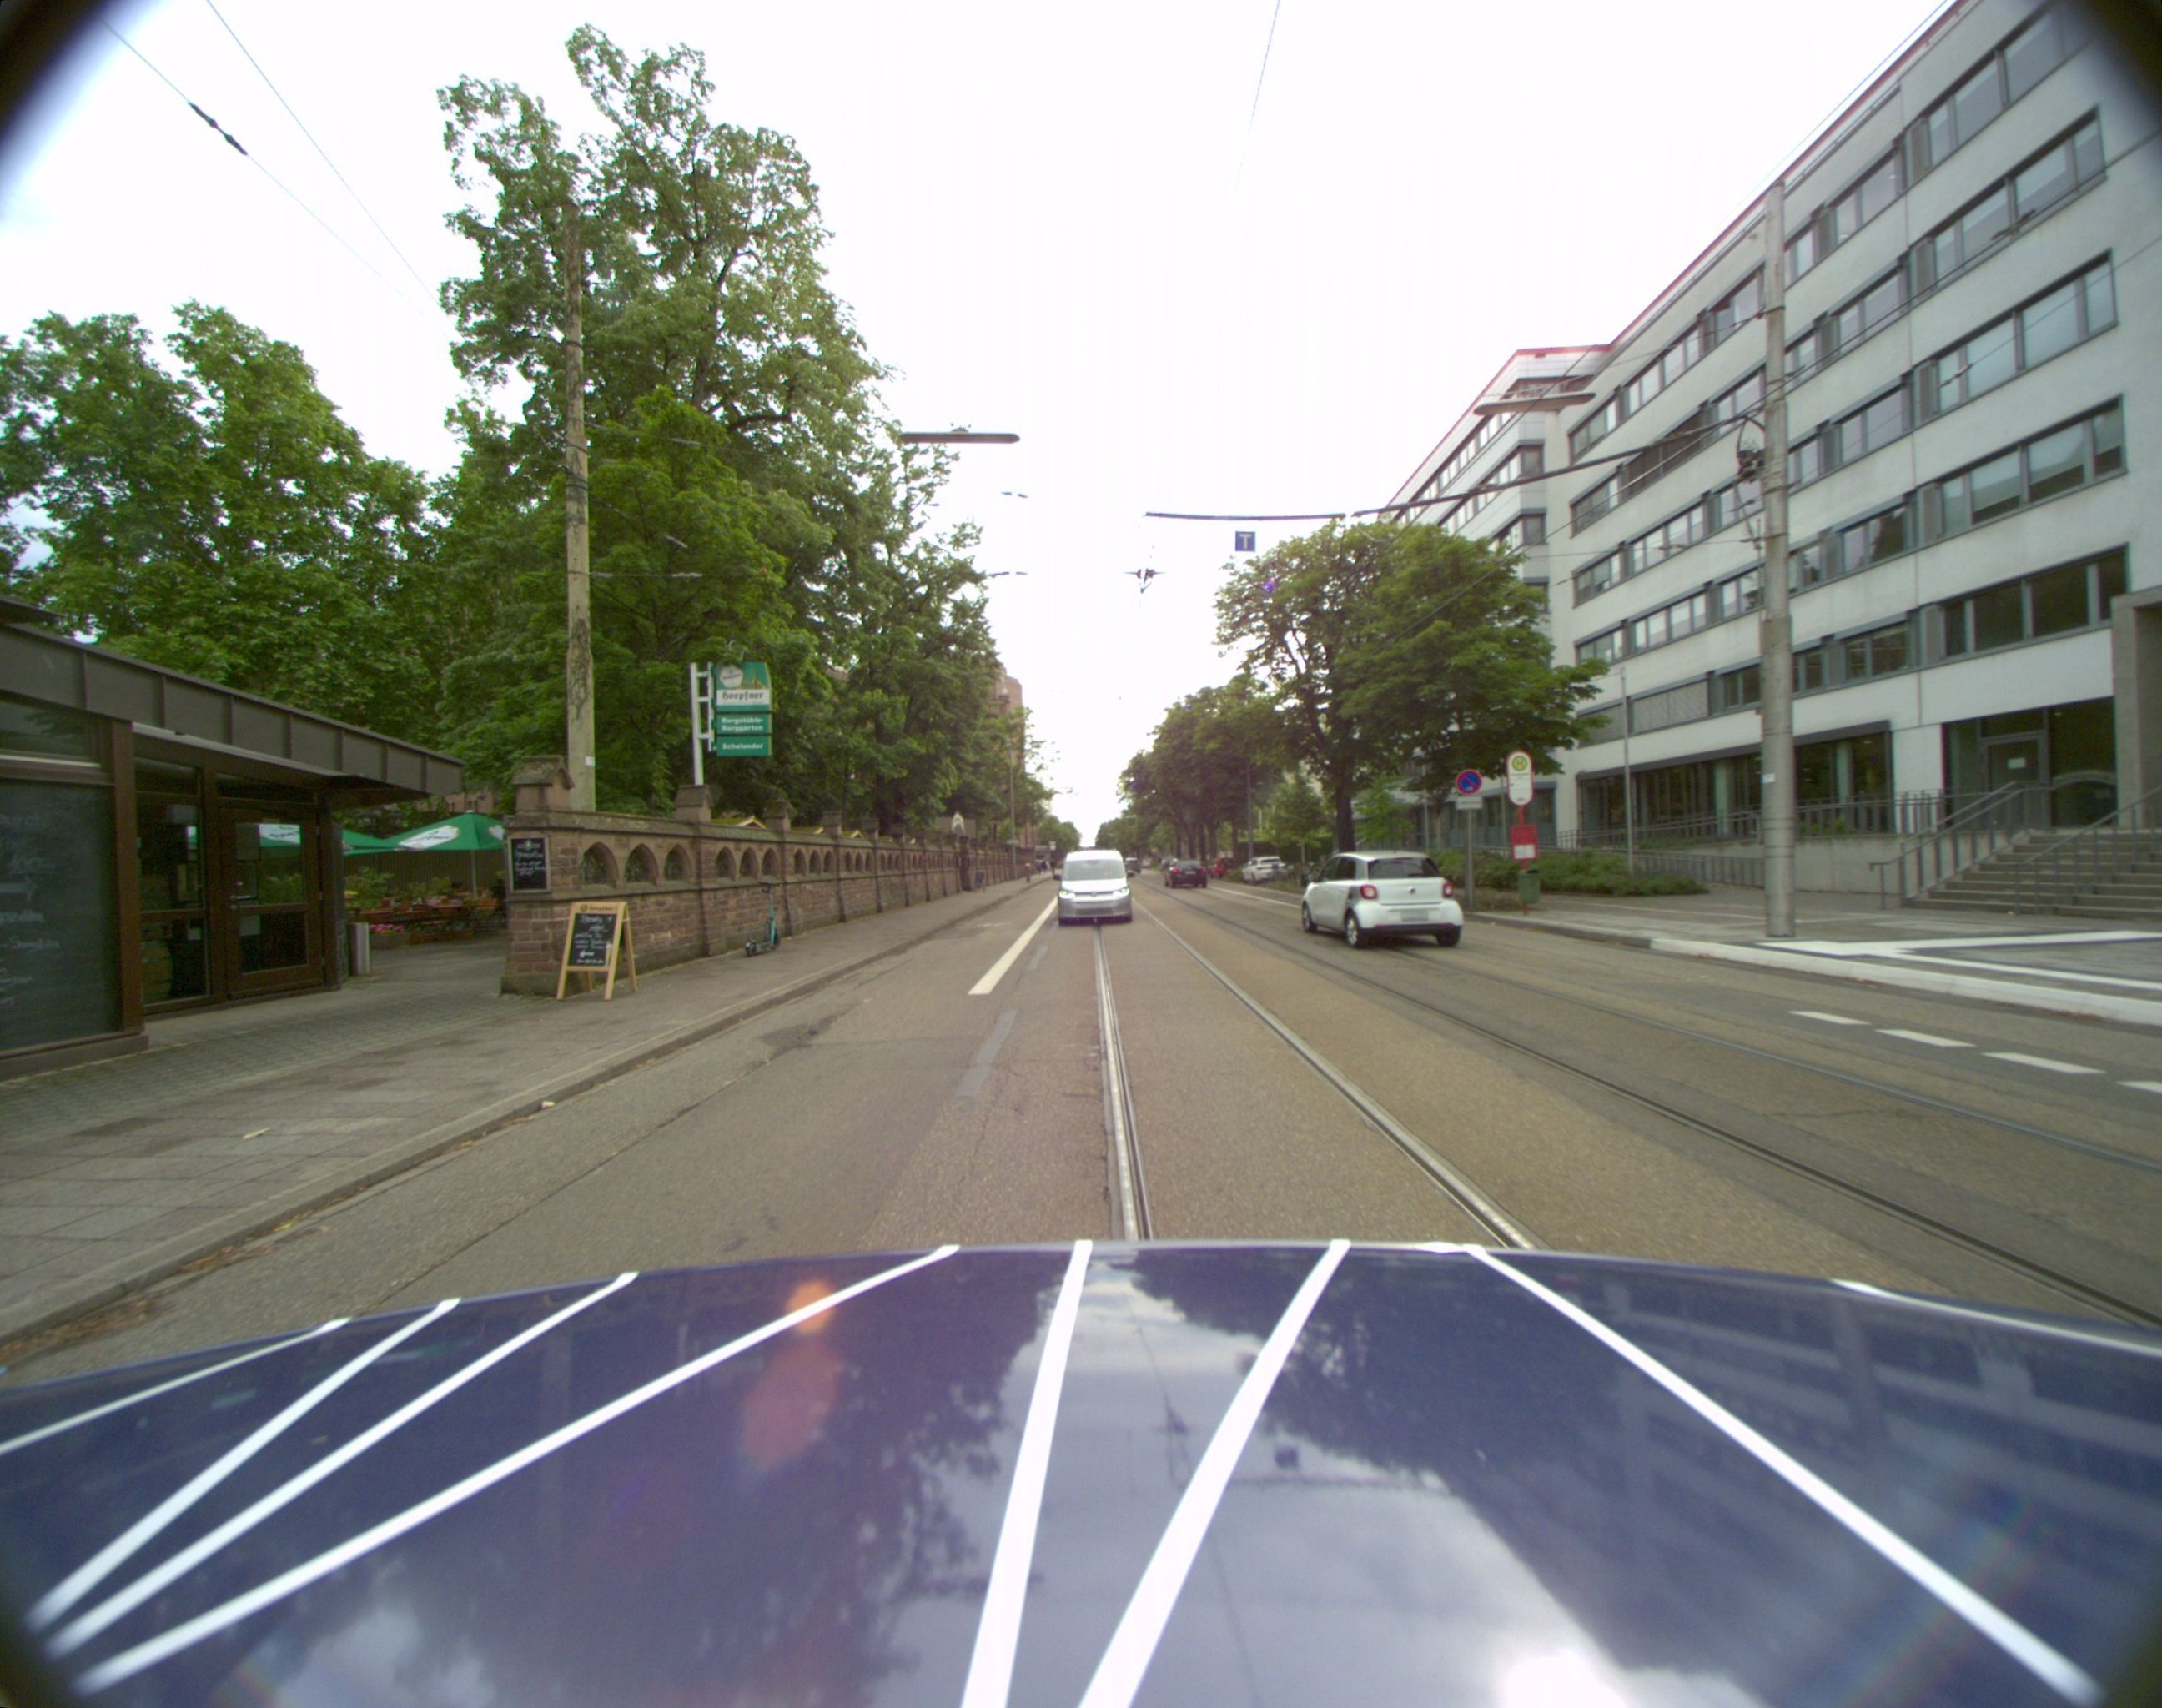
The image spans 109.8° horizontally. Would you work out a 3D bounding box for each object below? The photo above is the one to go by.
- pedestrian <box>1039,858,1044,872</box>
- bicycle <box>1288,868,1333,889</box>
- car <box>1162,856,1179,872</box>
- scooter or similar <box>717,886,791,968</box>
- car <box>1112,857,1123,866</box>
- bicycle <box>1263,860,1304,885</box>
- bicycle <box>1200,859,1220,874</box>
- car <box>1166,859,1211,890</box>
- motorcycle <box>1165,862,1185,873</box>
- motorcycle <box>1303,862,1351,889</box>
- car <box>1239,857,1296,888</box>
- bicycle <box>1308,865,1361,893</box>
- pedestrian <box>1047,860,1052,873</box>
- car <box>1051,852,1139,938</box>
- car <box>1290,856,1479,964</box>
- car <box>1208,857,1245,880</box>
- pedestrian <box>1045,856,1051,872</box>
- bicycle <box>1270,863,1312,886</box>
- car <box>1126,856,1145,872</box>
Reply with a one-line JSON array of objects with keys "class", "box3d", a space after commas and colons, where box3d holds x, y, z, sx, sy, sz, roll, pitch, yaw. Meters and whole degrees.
[{"class": "pedestrian", "box3d": [-4.468, 1.264, 86.466, 0.559, 1.645, 0.771, 0, 0, -2]}, {"class": "bicycle", "box3d": [10.410, 1.094, 34.496, 1.811, 0.894, 0.632, -1, 1, -5]}, {"class": "car", "box3d": [10.835, 1.166, 92.080, 1.815, 1.699, 4.001, -3, 0, 4]}, {"class": "scooter or similar", "box3d": [-5.468, 1.186, 12.790, 0.578, 1.232, 1.410, 1, 0, 1]}, {"class": "car", "box3d": [6.344, 1.357, 132.575, 1.745, 1.490, 4.261, -2, 0, -1]}, {"class": "bicycle", "box3d": [10.124, 0.916, 38.052, 1.868, 1.180, 0.632, -1, 1, 5]}, {"class": "bicycle", "box3d": [10.626, 0.988, 62.576, 1.473, 1.134, 0.617, -3, 1, 0]}, {"class": "car", "box3d": [5.377, 1.012, 38.531, 1.752, 1.477, 4.063, -1, -1, 1]}, {"class": "motorcycle", "box3d": [10.309, 1.513, 83.269, 2.128, 1.096, 0.776, -3, 1, 42]}, {"class": "motorcycle", "box3d": [10.583, 0.923, 32.758, 1.793, 1.044, 0.732, -3, 1, -6]}, {"class": "car", "box3d": [10.004, 0.952, 41.111, 1.886, 1.484, 4.753, -3, 0, 1]}, {"class": "bicycle", "box3d": [10.217, 1.000, 30.646, 1.834, 1.047, 0.741, -2, 0, -8]}, {"class": "pedestrian", "box3d": [-4.450, 1.774, 108.690, 0.669, 1.703, 0.997, 2, 1, -2]}, {"class": "car", "box3d": [0.345, 0.909, 19.374, 1.850, 1.797, 4.936, -3, 0, 1]}, {"class": "car", "box3d": [4.997, 0.827, 13.087, 1.708, 1.521, 3.741, -2, 0, 0]}, {"class": "car", "box3d": [10.350, 1.012, 54.237, 1.632, 1.439, 3.756, -5, 1, -2]}, {"class": "pedestrian", "box3d": [-3.754, 1.172, 86.616, 0.723, 1.834, 0.897, 0, 1, -2]}, {"class": "bicycle", "box3d": [10.187, 0.987, 36.891, 1.811, 1.094, 0.632, -1, 1, -5]}, {"class": "car", "box3d": [5.892, 1.094, 82.468, 1.846, 1.644, 4.389, 0, 0, 1]}]
